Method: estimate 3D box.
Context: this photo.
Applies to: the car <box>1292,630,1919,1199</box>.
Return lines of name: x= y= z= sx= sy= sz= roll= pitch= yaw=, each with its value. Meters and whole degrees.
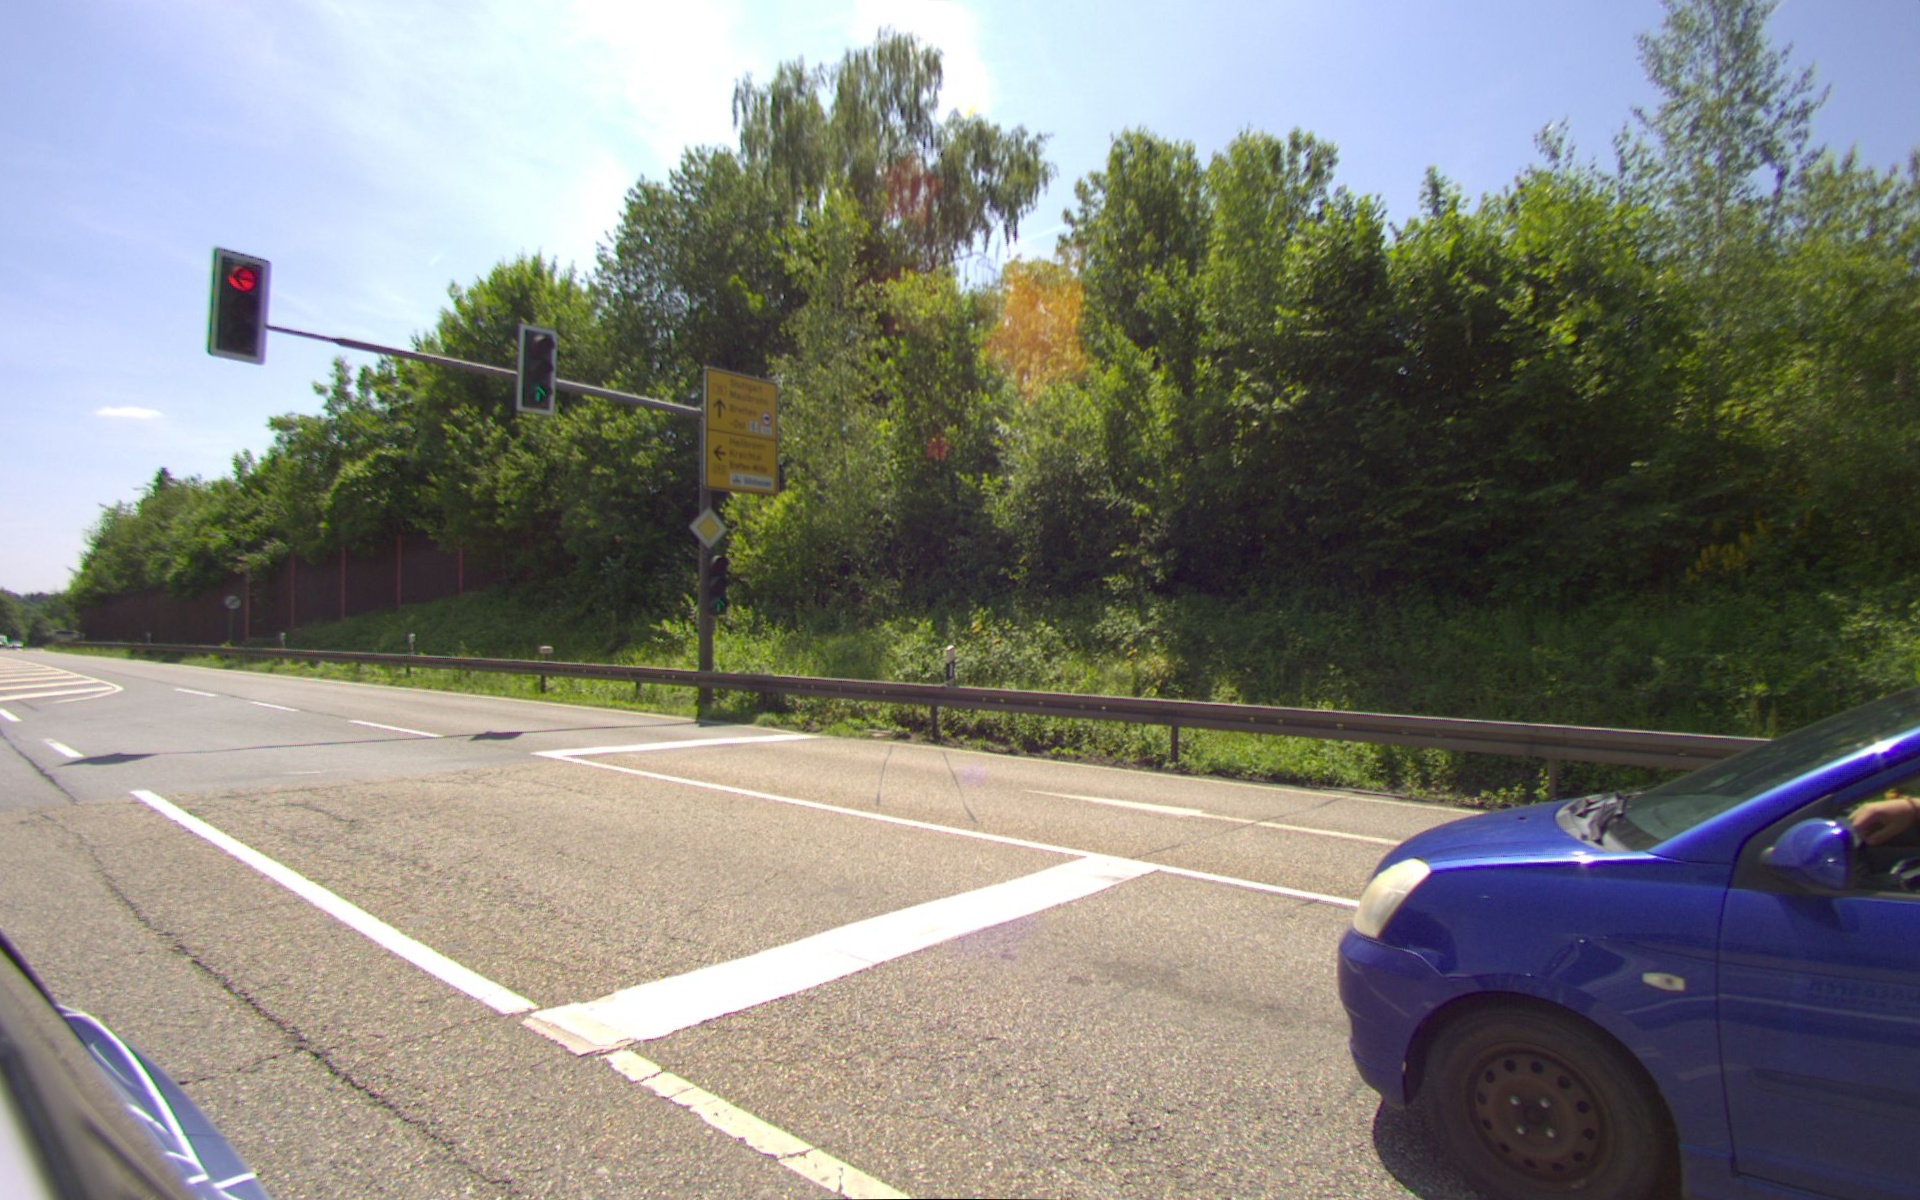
car: x=2.882 y=0.804 z=2.271 sx=3.767 sy=1.451 sz=1.550 roll=-2 pitch=-3 yaw=40
